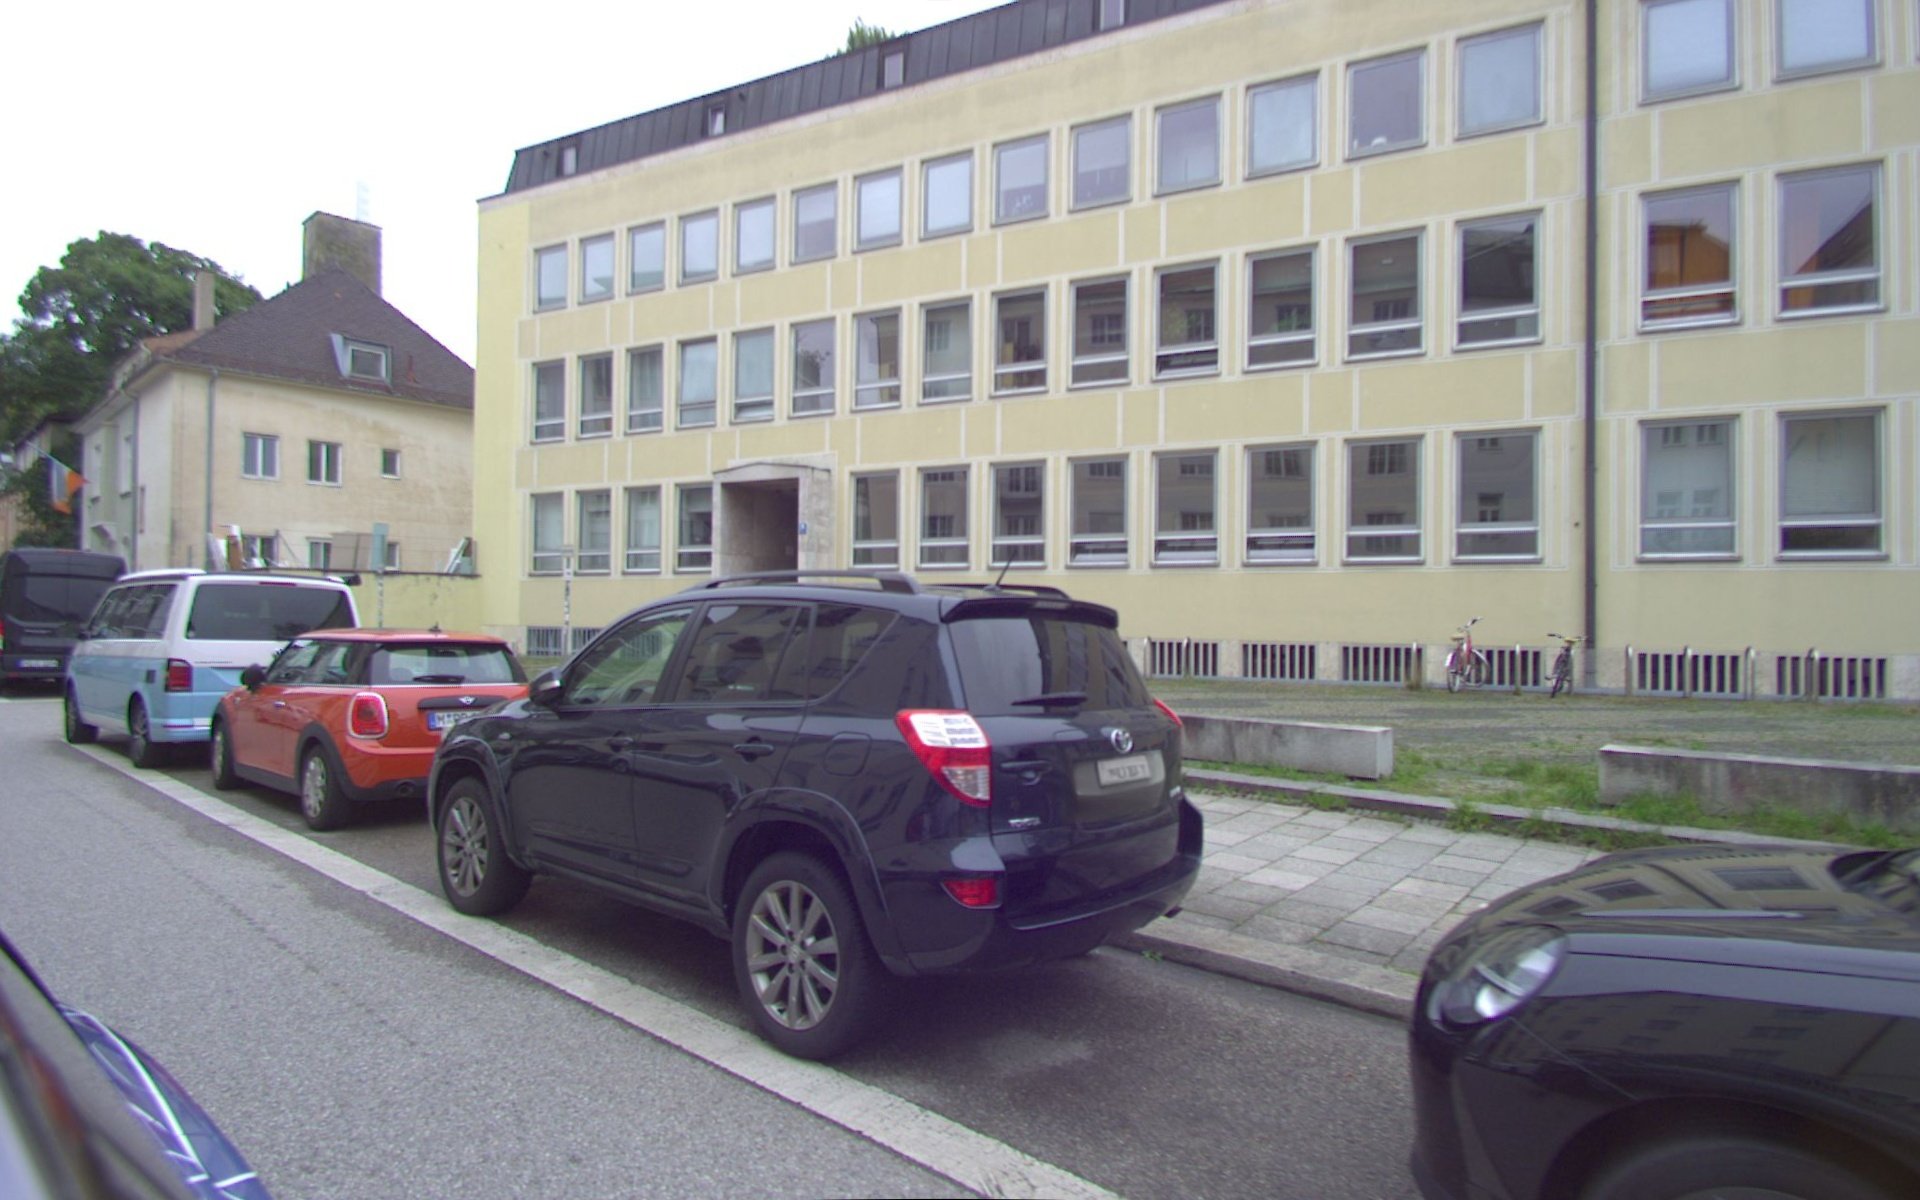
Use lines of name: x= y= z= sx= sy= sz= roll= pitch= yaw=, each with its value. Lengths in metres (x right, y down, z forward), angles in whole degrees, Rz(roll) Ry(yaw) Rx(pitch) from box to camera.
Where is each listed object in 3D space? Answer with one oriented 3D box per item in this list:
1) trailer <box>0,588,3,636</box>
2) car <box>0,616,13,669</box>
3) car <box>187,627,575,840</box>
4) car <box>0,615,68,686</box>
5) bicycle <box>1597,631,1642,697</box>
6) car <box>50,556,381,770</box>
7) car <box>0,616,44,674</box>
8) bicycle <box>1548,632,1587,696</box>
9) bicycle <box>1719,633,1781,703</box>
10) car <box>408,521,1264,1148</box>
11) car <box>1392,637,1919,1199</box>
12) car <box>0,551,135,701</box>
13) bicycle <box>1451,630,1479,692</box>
trailer: x=-34.860 y=0.820 z=35.425 sx=4.388 sy=2.480 sz=1.690 roll=-1 pitch=-4 yaw=44
car: x=-30.482 y=1.243 z=31.095 sx=4.542 sy=1.550 sz=1.746 roll=0 pitch=-3 yaw=44
car: x=-4.934 y=0.944 z=8.444 sx=3.650 sy=1.383 sz=1.635 roll=-1 pitch=-4 yaw=41
car: x=-22.283 y=1.148 z=23.485 sx=3.535 sy=1.550 sz=1.572 roll=-1 pitch=-2 yaw=35
bicycle: x=10.414 y=0.983 z=15.997 sx=0.364 sy=0.962 sz=1.519 roll=-1 pitch=-1 yaw=25
car: x=-8.508 y=0.651 z=11.416 sx=4.596 sy=1.946 sz=1.864 roll=-1 pitch=-4 yaw=39
car: x=-25.566 y=1.160 z=26.585 sx=3.821 sy=1.457 sz=1.684 roll=-1 pitch=-1 yaw=39
bicycle: x=9.754 y=1.005 z=16.282 sx=0.364 sy=0.962 sz=1.519 roll=-1 pitch=-1 yaw=25
bicycle: x=11.707 y=0.983 z=15.026 sx=0.364 sy=0.962 sz=1.519 roll=-1 pitch=-1 yaw=25
car: x=-0.844 y=0.708 z=4.738 sx=4.025 sy=1.704 sz=1.684 roll=-1 pitch=-4 yaw=41
car: x=2.829 y=0.809 z=1.443 sx=3.795 sy=1.423 sz=1.607 roll=-1 pitch=-3 yaw=39
car: x=-18.336 y=0.526 z=20.282 sx=5.377 sy=2.656 sz=2.065 roll=-2 pitch=-2 yaw=43
bicycle: x=8.425 y=0.992 z=16.907 sx=0.364 sy=0.962 sz=1.519 roll=-1 pitch=-1 yaw=25
